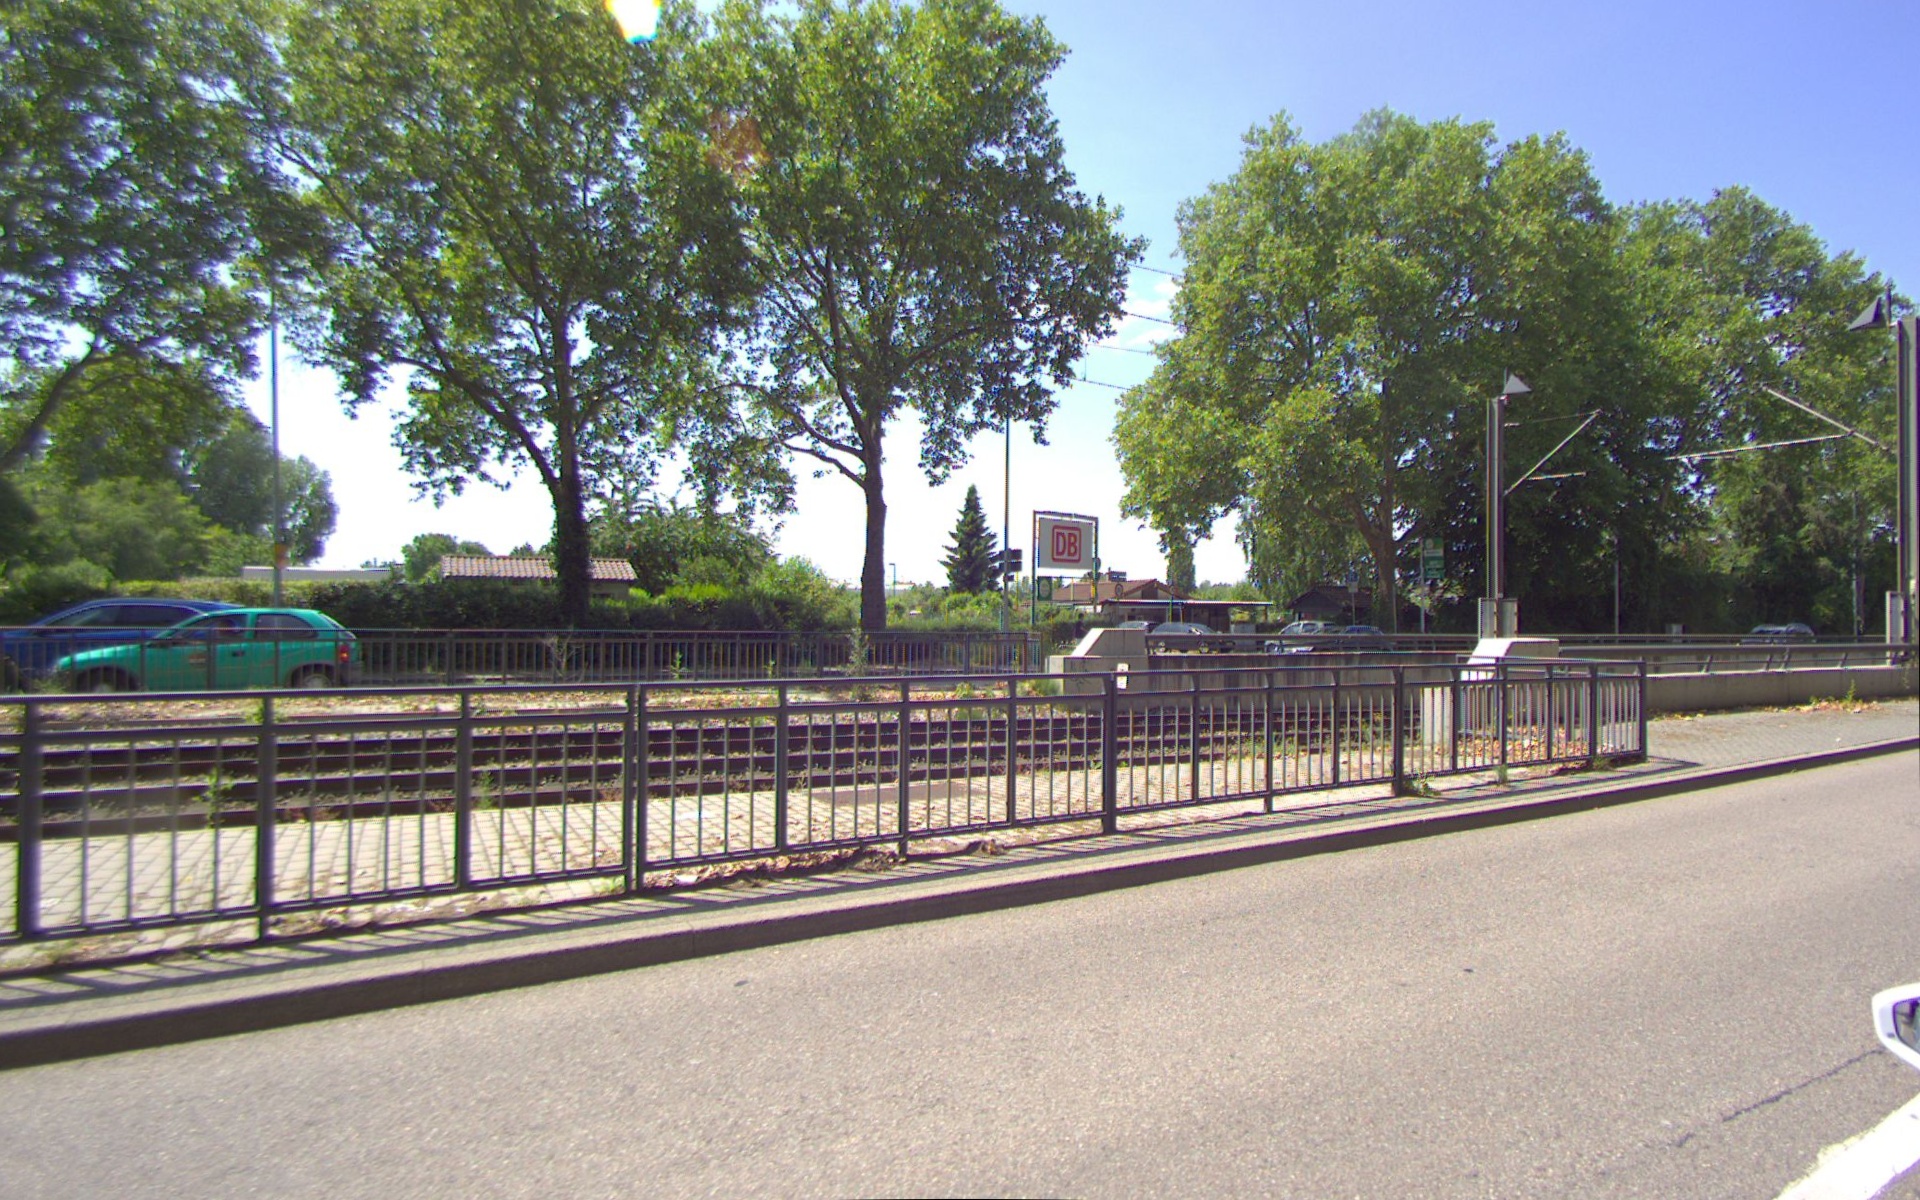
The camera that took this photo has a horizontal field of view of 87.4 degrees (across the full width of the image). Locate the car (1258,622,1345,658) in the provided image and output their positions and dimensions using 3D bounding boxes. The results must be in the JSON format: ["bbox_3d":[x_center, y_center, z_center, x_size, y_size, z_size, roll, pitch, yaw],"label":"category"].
[{"bbox_3d":[15.121,1.737,44.513,1.641,1.495,3.288,1,-1,-40],"label":"car"}]

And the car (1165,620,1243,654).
[{"bbox_3d":[11.608,1.748,47.893,1.641,1.495,3.288,1,-1,-40],"label":"car"}]

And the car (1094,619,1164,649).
[{"bbox_3d":[8.740,1.746,52.016,1.641,1.495,3.288,1,-1,-40],"label":"car"}]

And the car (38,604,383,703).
[{"bbox_3d":[-10.700,0.740,14.709,3.788,1.282,1.639,1,-1,-28],"label":"car"}]

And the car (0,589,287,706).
[{"bbox_3d":[-13.900,0.750,16.657,4.328,1.706,1.737,1,2,-28],"label":"car"}]

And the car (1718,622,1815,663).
[{"bbox_3d":[37.547,1.981,46.751,4.328,1.706,1.860,1,2,-28],"label":"car"}]

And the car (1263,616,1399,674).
[{"bbox_3d":[12.302,1.470,33.280,4.328,1.706,1.737,1,2,-28],"label":"car"}]

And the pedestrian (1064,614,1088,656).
[{"bbox_3d":[4.145,1.235,35.969,0.641,1.471,0.551,1,-1,-44],"label":"pedestrian"}]
